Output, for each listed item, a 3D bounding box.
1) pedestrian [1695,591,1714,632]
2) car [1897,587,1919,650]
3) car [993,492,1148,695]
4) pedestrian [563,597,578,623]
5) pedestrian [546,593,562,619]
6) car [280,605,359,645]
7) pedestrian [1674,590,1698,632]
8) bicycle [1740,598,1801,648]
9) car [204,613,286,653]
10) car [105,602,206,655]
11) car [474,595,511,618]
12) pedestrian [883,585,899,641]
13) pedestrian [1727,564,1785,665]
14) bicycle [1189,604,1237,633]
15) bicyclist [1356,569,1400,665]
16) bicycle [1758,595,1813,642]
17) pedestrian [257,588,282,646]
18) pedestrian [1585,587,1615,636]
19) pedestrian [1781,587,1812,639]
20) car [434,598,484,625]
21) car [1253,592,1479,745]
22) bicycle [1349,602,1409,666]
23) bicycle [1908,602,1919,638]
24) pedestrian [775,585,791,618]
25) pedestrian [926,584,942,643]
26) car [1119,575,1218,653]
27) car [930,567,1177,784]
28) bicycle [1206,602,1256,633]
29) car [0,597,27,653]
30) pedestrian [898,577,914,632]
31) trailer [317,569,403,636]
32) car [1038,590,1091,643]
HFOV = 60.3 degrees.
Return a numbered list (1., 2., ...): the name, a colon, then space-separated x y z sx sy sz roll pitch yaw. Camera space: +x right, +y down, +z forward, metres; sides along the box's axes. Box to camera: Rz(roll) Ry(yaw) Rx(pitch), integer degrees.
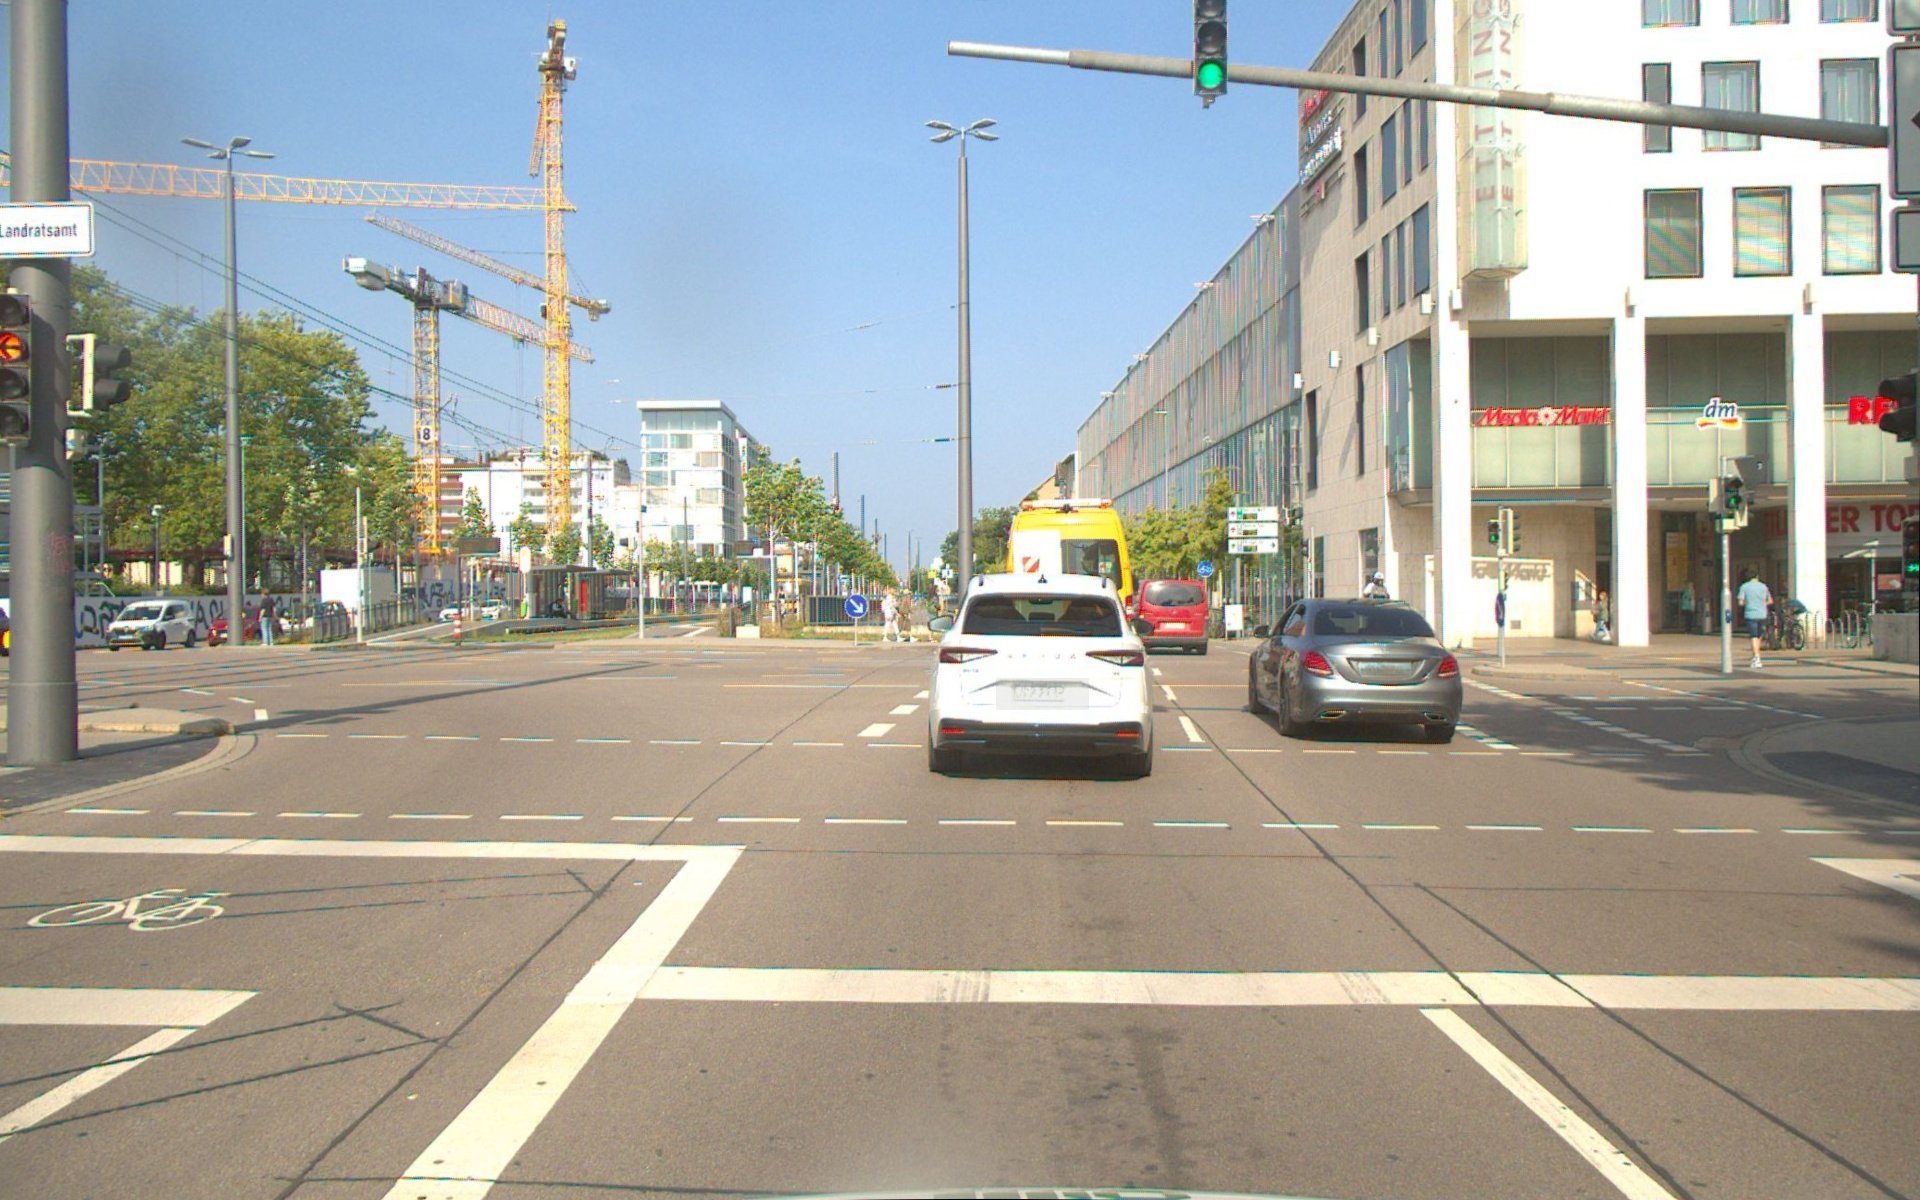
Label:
1. pedestrian: 24.654 0.376 54.763 0.383 1.364 0.455 -1 0 -1
2. car: 23.221 0.389 36.668 3.811 1.390 1.878 -1 -1 3
3. car: 1.609 -0.154 26.003 1.979 2.844 5.400 -1 1 -1
4. pedestrian: -20.187 0.494 85.759 0.667 1.322 0.592 -1 0 -5
5. pedestrian: -20.348 0.294 82.812 0.667 1.322 0.592 -1 0 -5
6. car: -25.900 0.989 66.984 1.610 1.495 4.401 -1 0 -2
7. pedestrian: 24.476 0.377 55.762 0.553 1.408 0.492 -1 0 -6
8. bicycle: 21.241 0.591 43.375 0.600 1.259 2.070 -1 0 1
9. car: -26.224 1.192 60.766 1.687 1.385 3.694 0 0 -5
10. car: -29.641 1.017 61.070 1.583 1.820 4.518 -1 0 -1
11. car: -31.819 0.447 112.602 1.564 1.489 3.433 -1 0 -1
12. pedestrian: -2.079 0.380 49.858 0.458 1.678 0.777 0 0 -1
13. pedestrian: 14.059 0.254 29.242 0.629 1.741 0.990 -1 0 7
14. bicycle: 10.266 0.748 67.125 1.839 1.129 0.490 -1 0 1
15. bicyclist: 7.881 0.316 31.210 0.637 1.779 0.769 -1 0 1
16. bicycle: 21.900 0.486 43.891 0.490 1.220 1.792 -1 0 -2
17. pedestrian: -20.685 0.504 49.572 0.362 1.705 0.640 -1 0 15
18. pedestrian: 19.901 0.363 51.462 0.693 1.513 0.605 -1 0 1
19. pedestrian: 22.307 0.346 44.128 0.501 1.380 0.547 -1 0 -8
20. car: -31.845 0.716 105.208 1.755 1.609 4.616 -1 0 0
21. car: 4.312 0.658 18.144 1.723 1.461 4.117 1 0 4
22. bicycle: 7.882 0.618 31.181 0.647 1.137 2.051 -1 0 1
23. bicycle: 26.118 0.542 44.454 0.449 0.973 1.857 -1 0 8
24. pedestrian: -8.950 0.094 83.631 0.721 1.647 0.710 0 0 -2
25. pedestrian: -0.739 0.384 47.278 0.458 1.678 0.777 0 0 -1
26. car: 5.314 0.341 42.696 1.910 1.882 4.435 -1 0 -1
27. car: 0.674 0.557 14.373 1.832 1.602 3.999 -1 0 -1
28. bicycle: 10.308 0.675 62.948 1.801 1.132 0.687 1 0 1
29. car: -28.272 0.727 47.085 1.609 1.629 3.993 -1 0 -8
30. pedestrian: -1.656 0.128 50.738 0.458 1.678 0.777 0 0 -1
31. trailer: -26.482 0.113 73.172 2.003 2.829 5.020 1 0 -2
32. car: 3.904 0.606 62.079 1.675 1.895 3.793 1 0 -1
